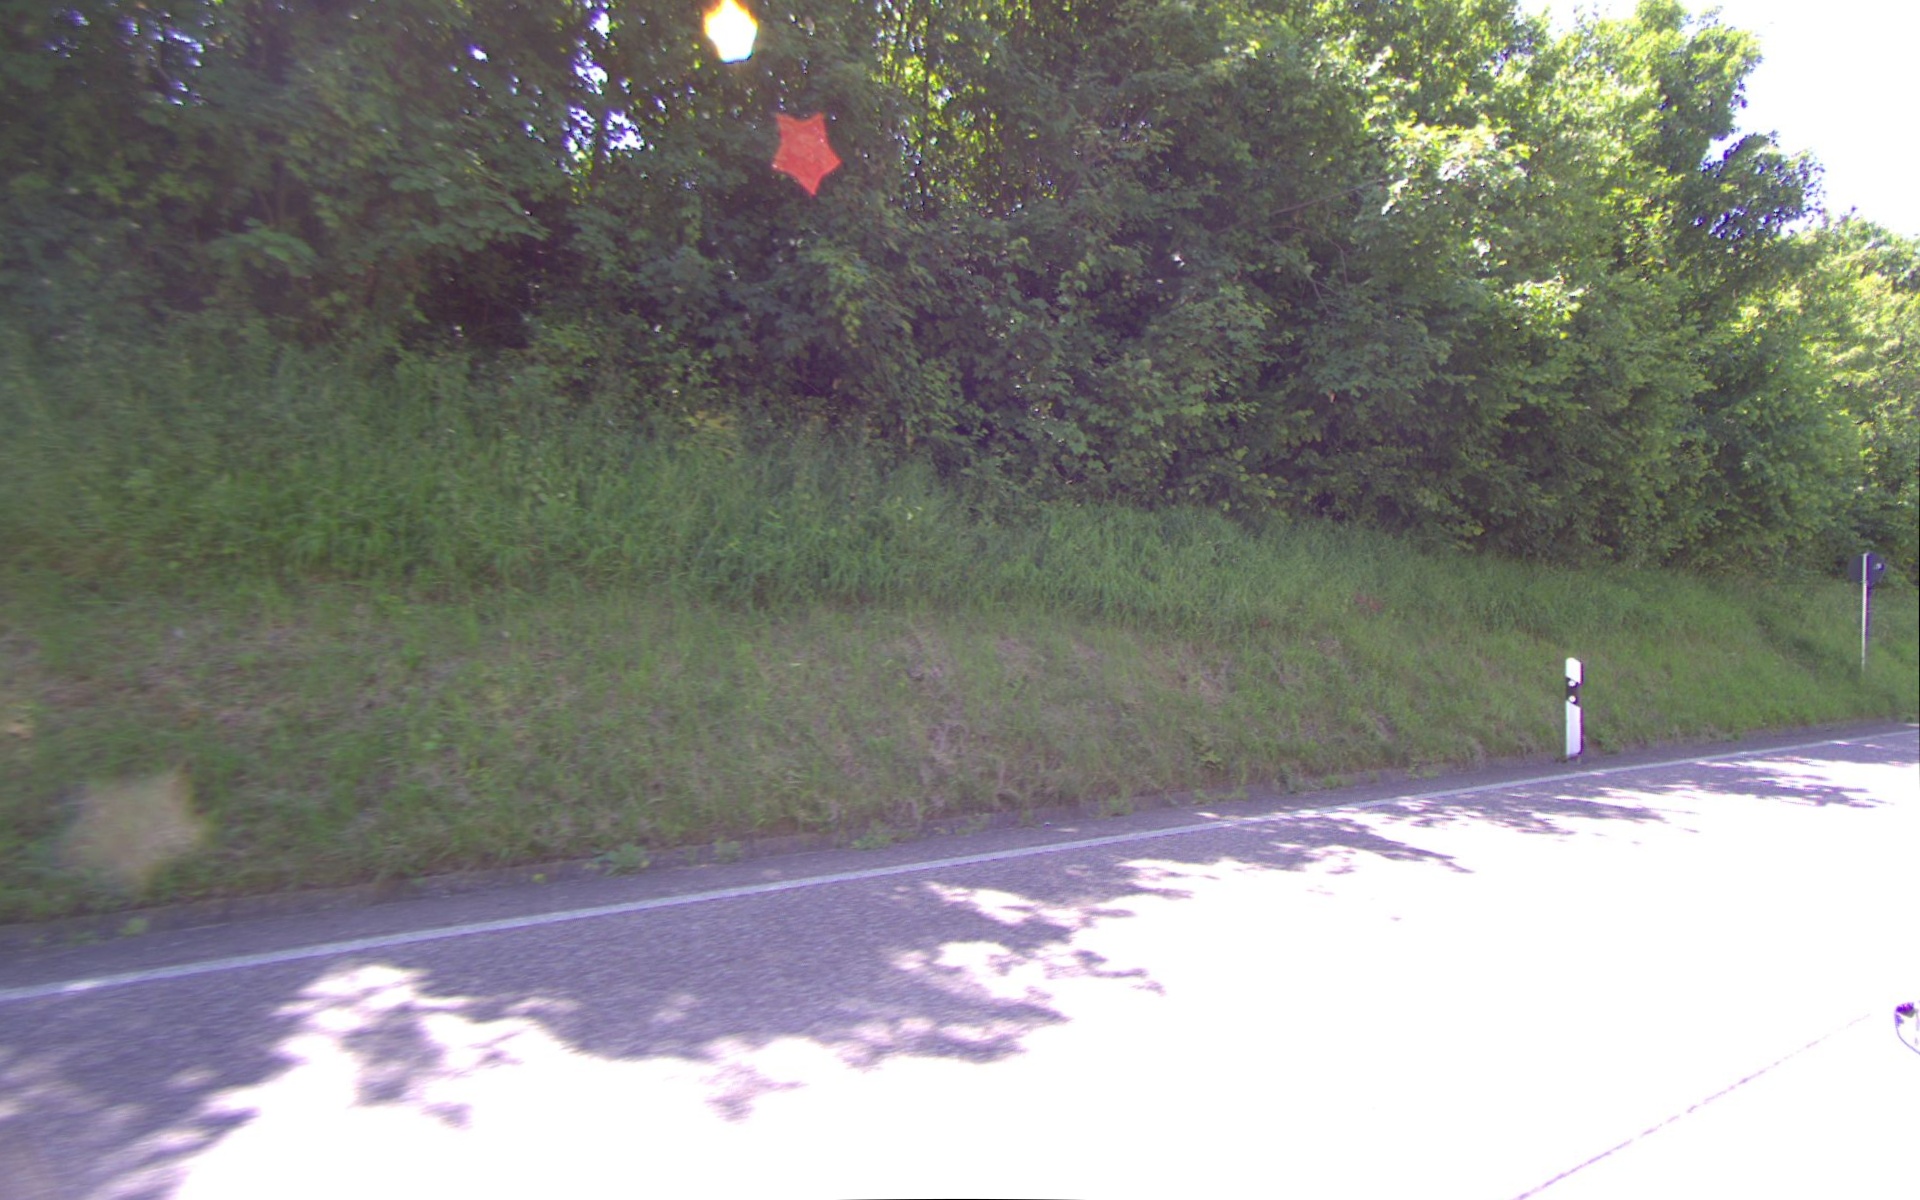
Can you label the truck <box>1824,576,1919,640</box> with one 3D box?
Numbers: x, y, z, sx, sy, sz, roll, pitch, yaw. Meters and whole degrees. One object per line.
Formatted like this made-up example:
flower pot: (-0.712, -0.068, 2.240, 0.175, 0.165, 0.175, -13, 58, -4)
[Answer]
truck: (66.979, 0.555, 71.167, 3.136, 4.367, 11.805, 4, 2, 11)
